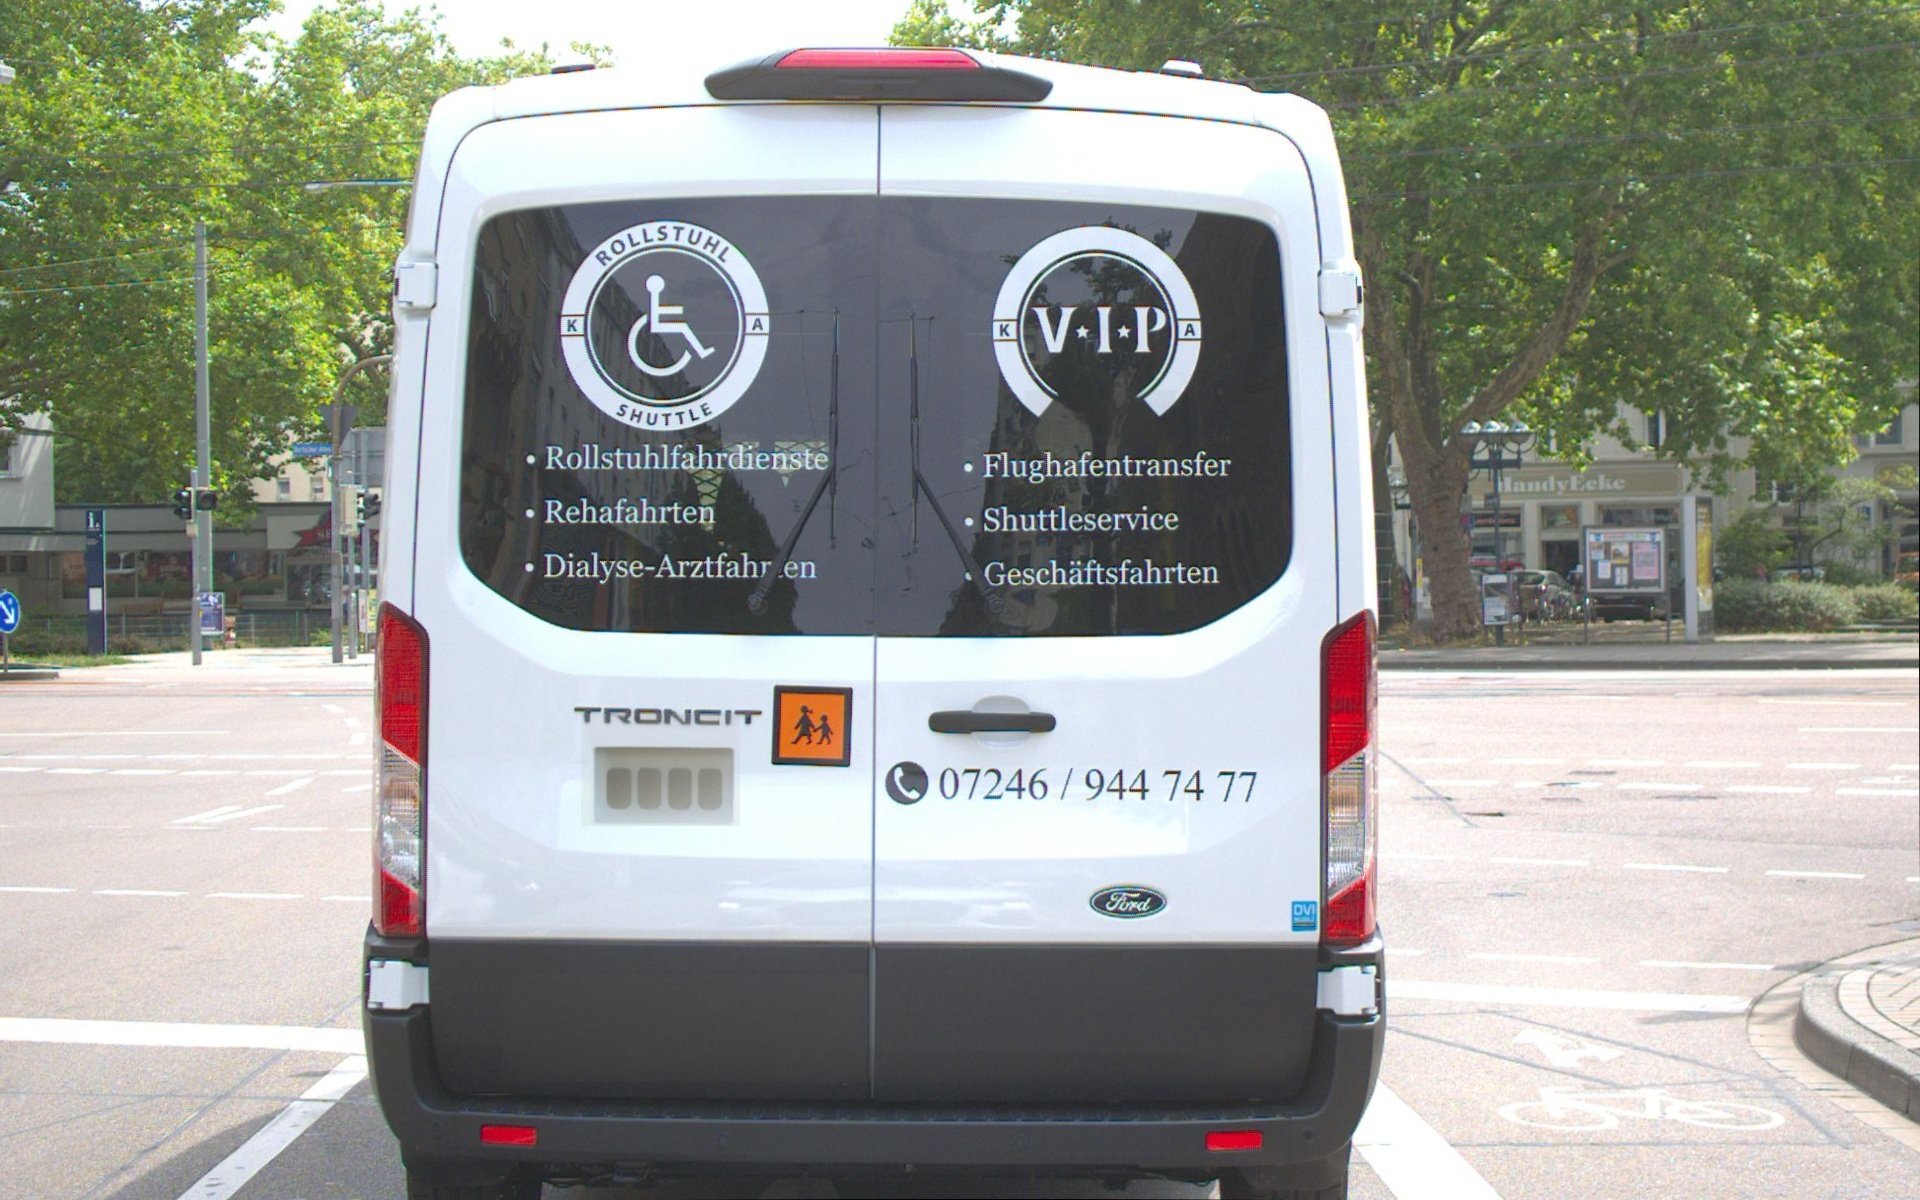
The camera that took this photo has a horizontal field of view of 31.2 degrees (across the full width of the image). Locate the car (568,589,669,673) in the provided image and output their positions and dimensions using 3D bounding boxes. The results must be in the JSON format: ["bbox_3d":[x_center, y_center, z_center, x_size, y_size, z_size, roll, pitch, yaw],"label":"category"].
[{"bbox_3d":[-6.584,0.581,66.560,1.592,1.502,3.807,-1,1,0],"label":"car"}]

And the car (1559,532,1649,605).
[{"bbox_3d":[17.587,-0.875,94.015,1.994,1.924,4.000,-1,1,4],"label":"car"}]

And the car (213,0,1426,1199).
[{"bbox_3d":[-0.317,0.112,8.536,2.181,2.639,4.628,0,0,-2],"label":"car"}]

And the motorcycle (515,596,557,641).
[{"bbox_3d":[-9.831,0.414,79.734,0.683,0.968,2.324,-1,1,0],"label":"motorcycle"}]

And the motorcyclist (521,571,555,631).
[{"bbox_3d":[-9.835,0.020,80.193,0.683,1.391,0.682,-1,1,0],"label":"motorcyclist"}]
